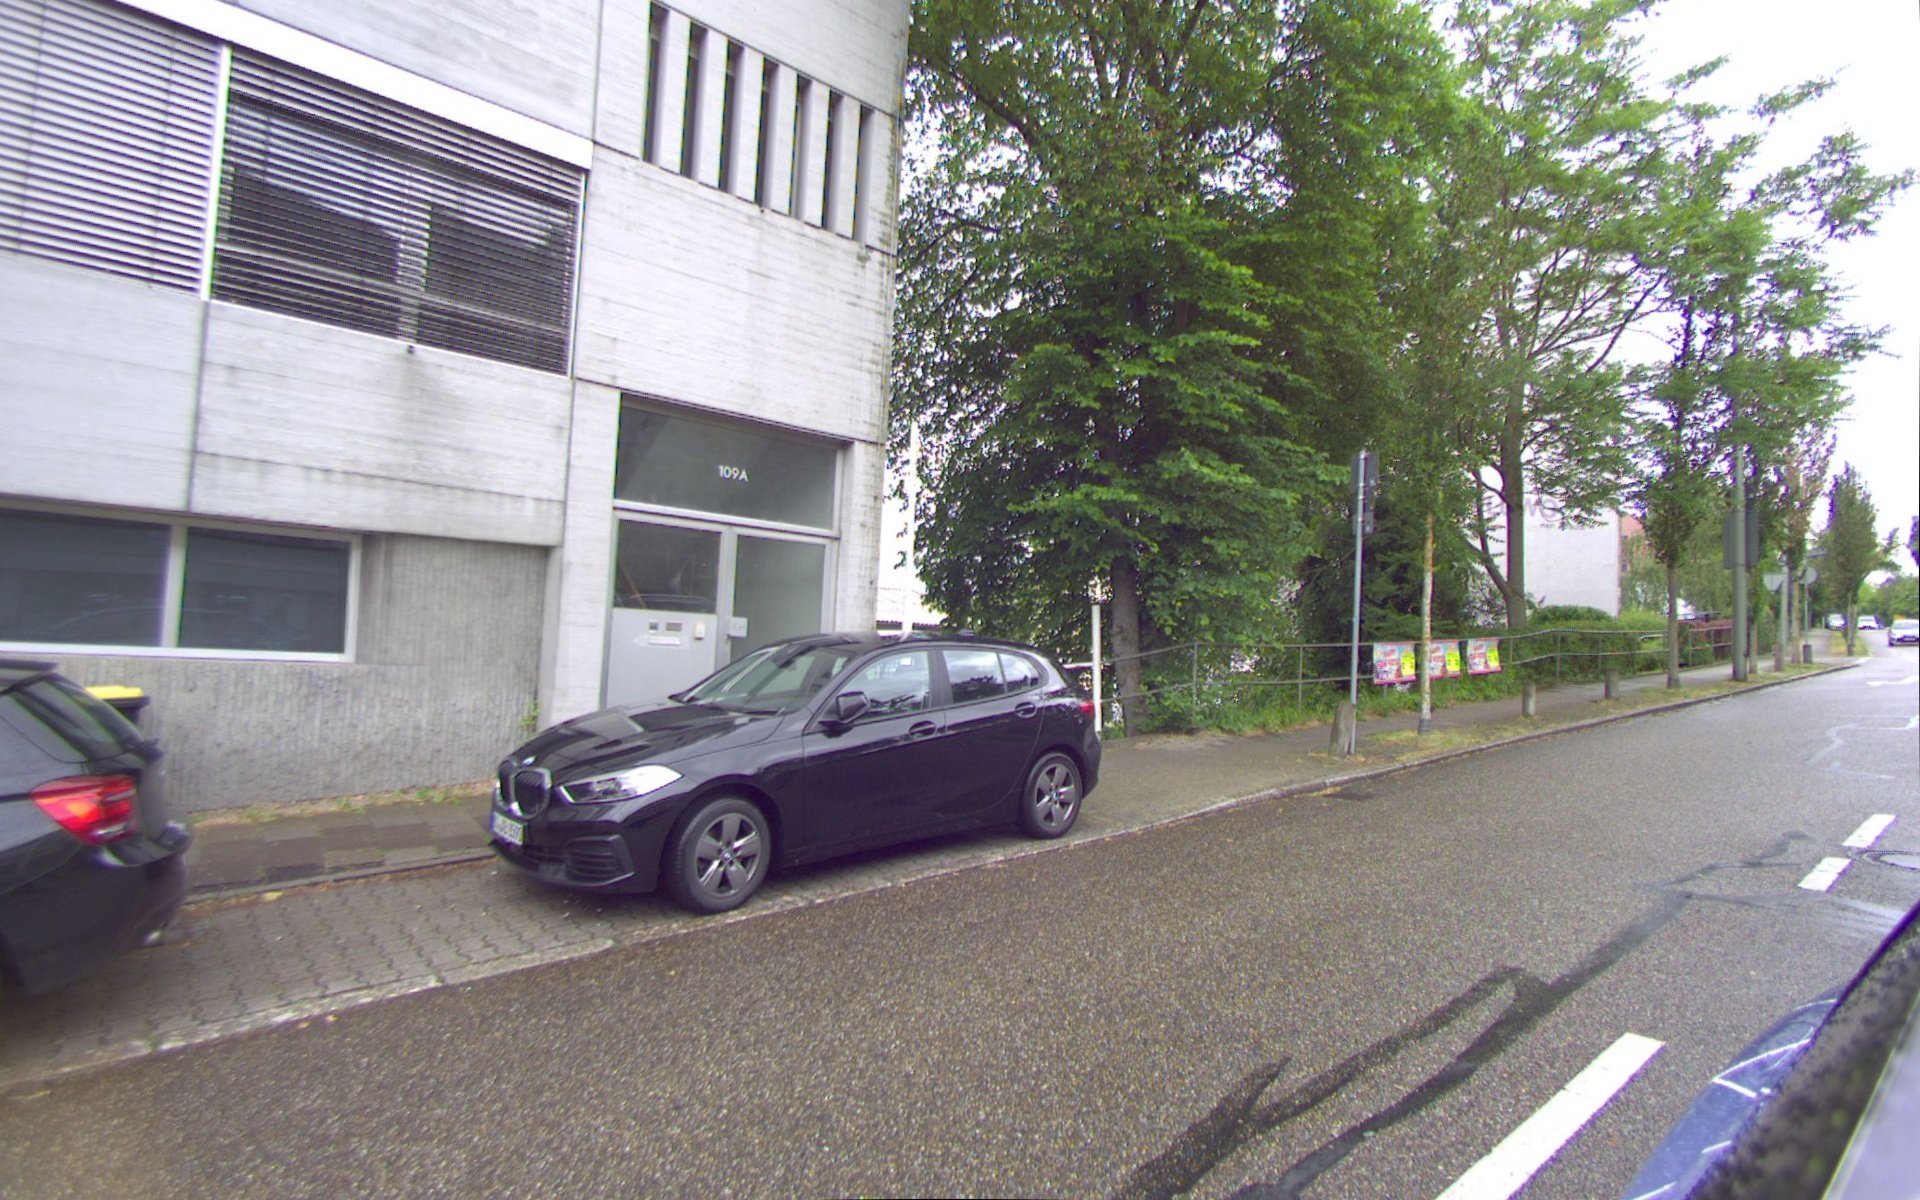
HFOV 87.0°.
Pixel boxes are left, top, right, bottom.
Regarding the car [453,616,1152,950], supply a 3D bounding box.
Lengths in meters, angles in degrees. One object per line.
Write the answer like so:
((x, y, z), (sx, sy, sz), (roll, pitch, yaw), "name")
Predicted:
((-0.822, 0.883, 6.930), (4.367, 1.453, 1.996), (0, 1, -43), "car")

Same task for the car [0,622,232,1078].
((-4.888, 0.851, 3.170), (4.173, 1.466, 1.753), (0, 0, -38), "car")

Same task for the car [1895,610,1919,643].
((56.375, 1.553, 59.535), (1.886, 1.741, 4.174), (2, 2, 42), "car")
